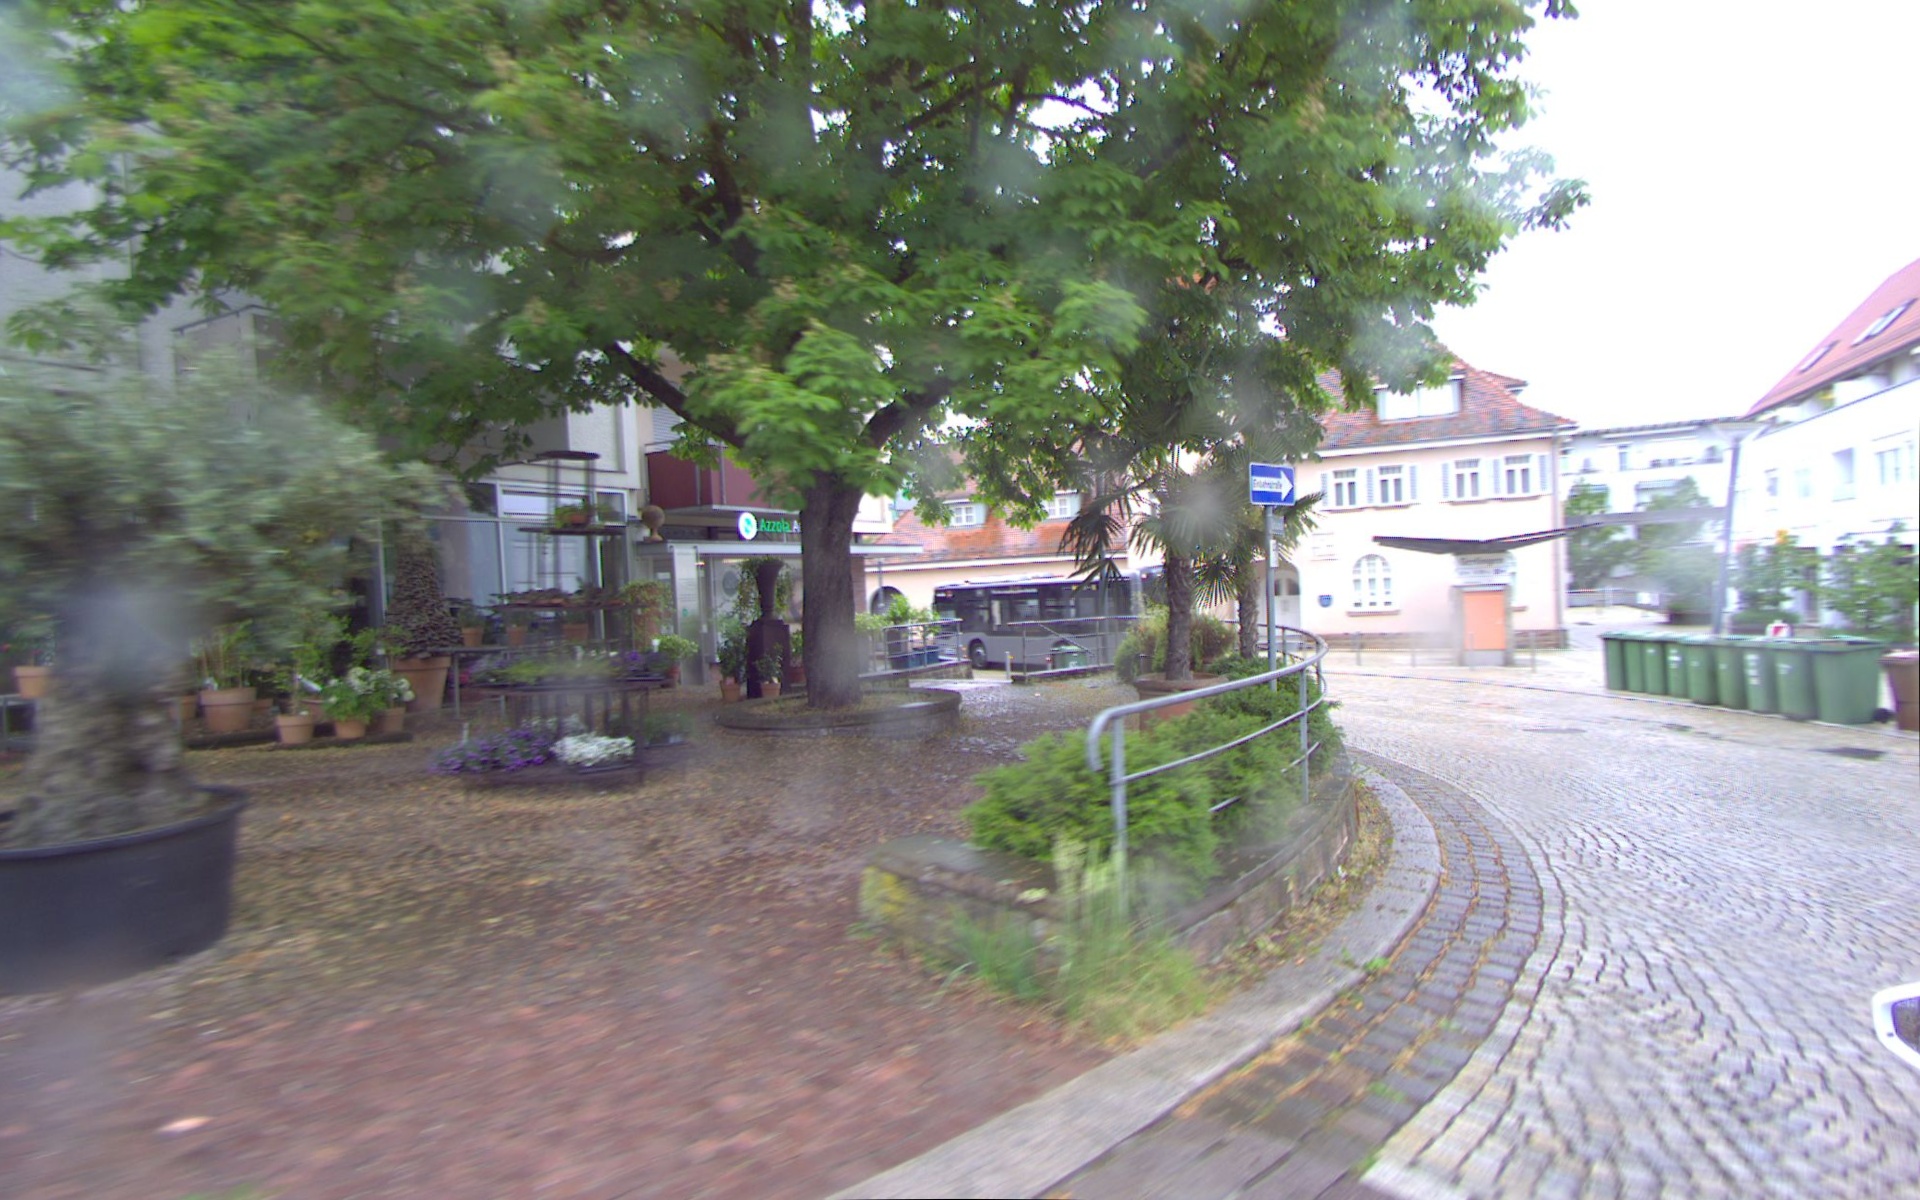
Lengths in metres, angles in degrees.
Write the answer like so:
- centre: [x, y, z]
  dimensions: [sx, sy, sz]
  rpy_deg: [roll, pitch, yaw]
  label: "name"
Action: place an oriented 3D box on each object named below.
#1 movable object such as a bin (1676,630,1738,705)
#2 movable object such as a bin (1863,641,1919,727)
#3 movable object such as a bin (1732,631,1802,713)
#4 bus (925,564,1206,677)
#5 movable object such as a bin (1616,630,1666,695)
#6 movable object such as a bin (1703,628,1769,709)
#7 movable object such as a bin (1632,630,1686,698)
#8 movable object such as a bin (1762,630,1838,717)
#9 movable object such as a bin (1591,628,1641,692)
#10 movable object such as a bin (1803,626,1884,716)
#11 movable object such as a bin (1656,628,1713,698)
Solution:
- centre: [11.679, 1.049, 15.726]
  dimensions: [0.550, 1.141, 0.551]
  rpy_deg: [-2, -1, 8]
  label: "movable object such as a bin"
- centre: [11.481, 1.007, 12.193]
  dimensions: [0.550, 1.004, 0.498]
  rpy_deg: [-1, -1, -1]
  label: "movable object such as a bin"
- centre: [11.540, 1.023, 14.369]
  dimensions: [0.550, 1.141, 0.542]
  rpy_deg: [-2, -1, 8]
  label: "movable object such as a bin"
- centre: [2.941, 0.640, 32.501]
  dimensions: [2.761, 3.030, 10.452]
  rpy_deg: [-3, 1, -35]
  label: "bus"
- centre: [12.231, 1.111, 18.044]
  dimensions: [0.527, 1.141, 0.540]
  rpy_deg: [-2, -1, 8]
  label: "movable object such as a bin"
- centre: [11.598, 1.017, 15.020]
  dimensions: [0.550, 1.175, 0.551]
  rpy_deg: [-2, -1, 8]
  label: "movable object such as a bin"
- centre: [12.143, 1.100, 17.459]
  dimensions: [0.550, 1.141, 0.551]
  rpy_deg: [-2, -1, 8]
  label: "movable object such as a bin"
- centre: [11.414, 0.992, 13.659]
  dimensions: [0.550, 1.141, 0.551]
  rpy_deg: [-2, -1, 8]
  label: "movable object such as a bin"
- centre: [12.203, 1.108, 18.692]
  dimensions: [0.528, 1.141, 0.539]
  rpy_deg: [-1, -1, -2]
  label: "movable object such as a bin"
- centre: [11.459, 0.911, 13.046]
  dimensions: [0.550, 1.141, 0.551]
  rpy_deg: [-2, -1, 8]
  label: "movable object such as a bin"
- centre: [12.160, 1.043, 16.881]
  dimensions: [0.550, 1.141, 0.551]
  rpy_deg: [-2, -1, 8]
  label: "movable object such as a bin"
